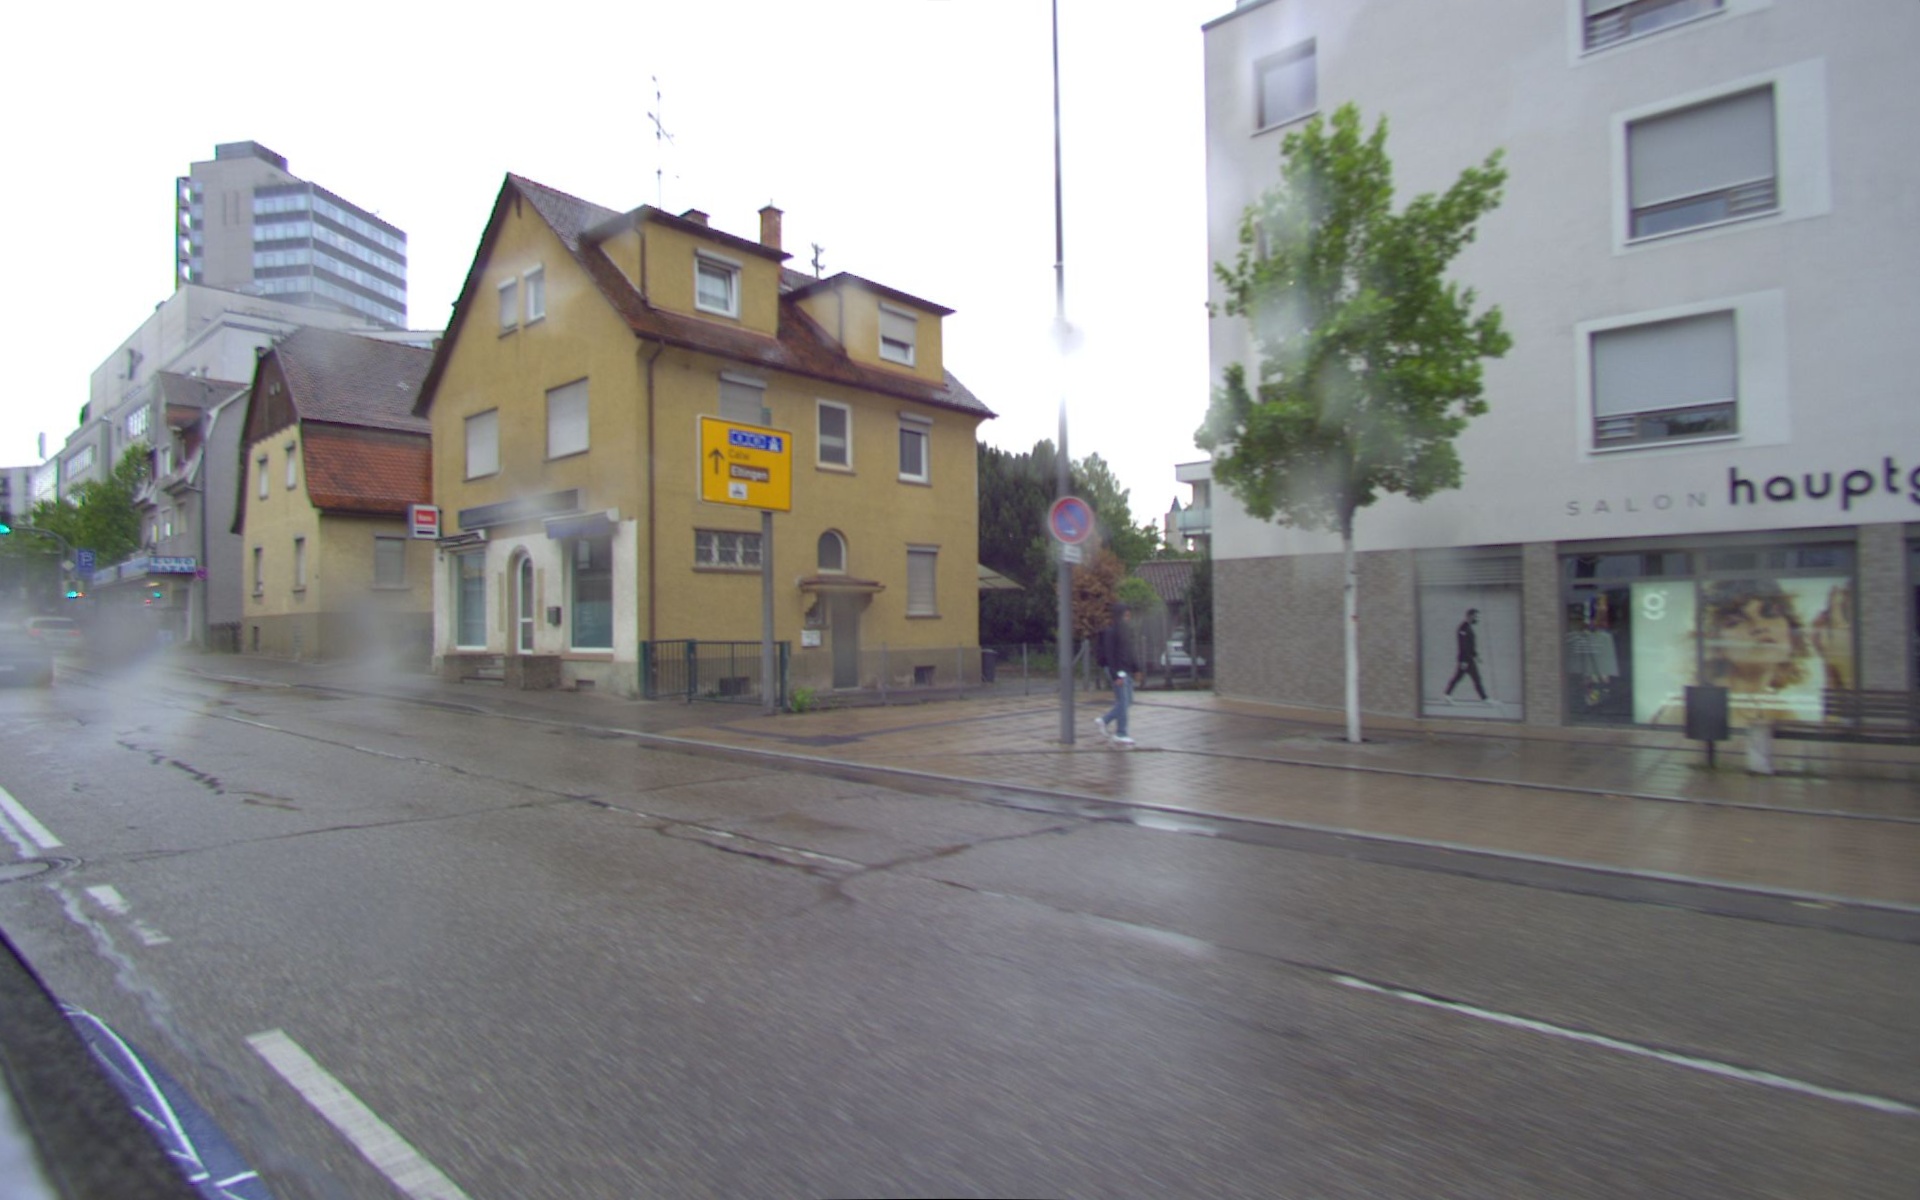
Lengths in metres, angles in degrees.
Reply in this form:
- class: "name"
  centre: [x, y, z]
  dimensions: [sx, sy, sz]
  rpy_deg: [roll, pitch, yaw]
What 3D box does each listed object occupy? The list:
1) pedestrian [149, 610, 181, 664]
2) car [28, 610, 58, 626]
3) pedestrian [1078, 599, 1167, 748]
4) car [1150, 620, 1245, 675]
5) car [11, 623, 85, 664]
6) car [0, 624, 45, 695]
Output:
- class: "pedestrian"
  centre: [-29.749, 1.370, 37.860]
  dimensions: [0.944, 1.935, 0.656]
  rpy_deg: [0, 1, 33]
- class: "car"
  centre: [-89.142, 1.743, 98.342]
  dimensions: [3.729, 1.421, 1.735]
  rpy_deg: [0, -1, 41]
- class: "pedestrian"
  centre: [2.071, 0.905, 12.872]
  dimensions: [0.878, 1.801, 0.795]
  rpy_deg: [0, -1, 29]
- class: "car"
  centre: [7.368, 1.445, 31.275]
  dimensions: [1.685, 1.585, 2.928]
  rpy_deg: [0, -1, 40]
- class: "car"
  centre: [-35.198, 1.660, 39.038]
  dimensions: [4.137, 1.428, 1.632]
  rpy_deg: [0, -3, 42]
- class: "car"
  centre: [-22.433, 1.310, 23.073]
  dimensions: [4.523, 1.424, 1.750]
  rpy_deg: [0, -1, 41]
